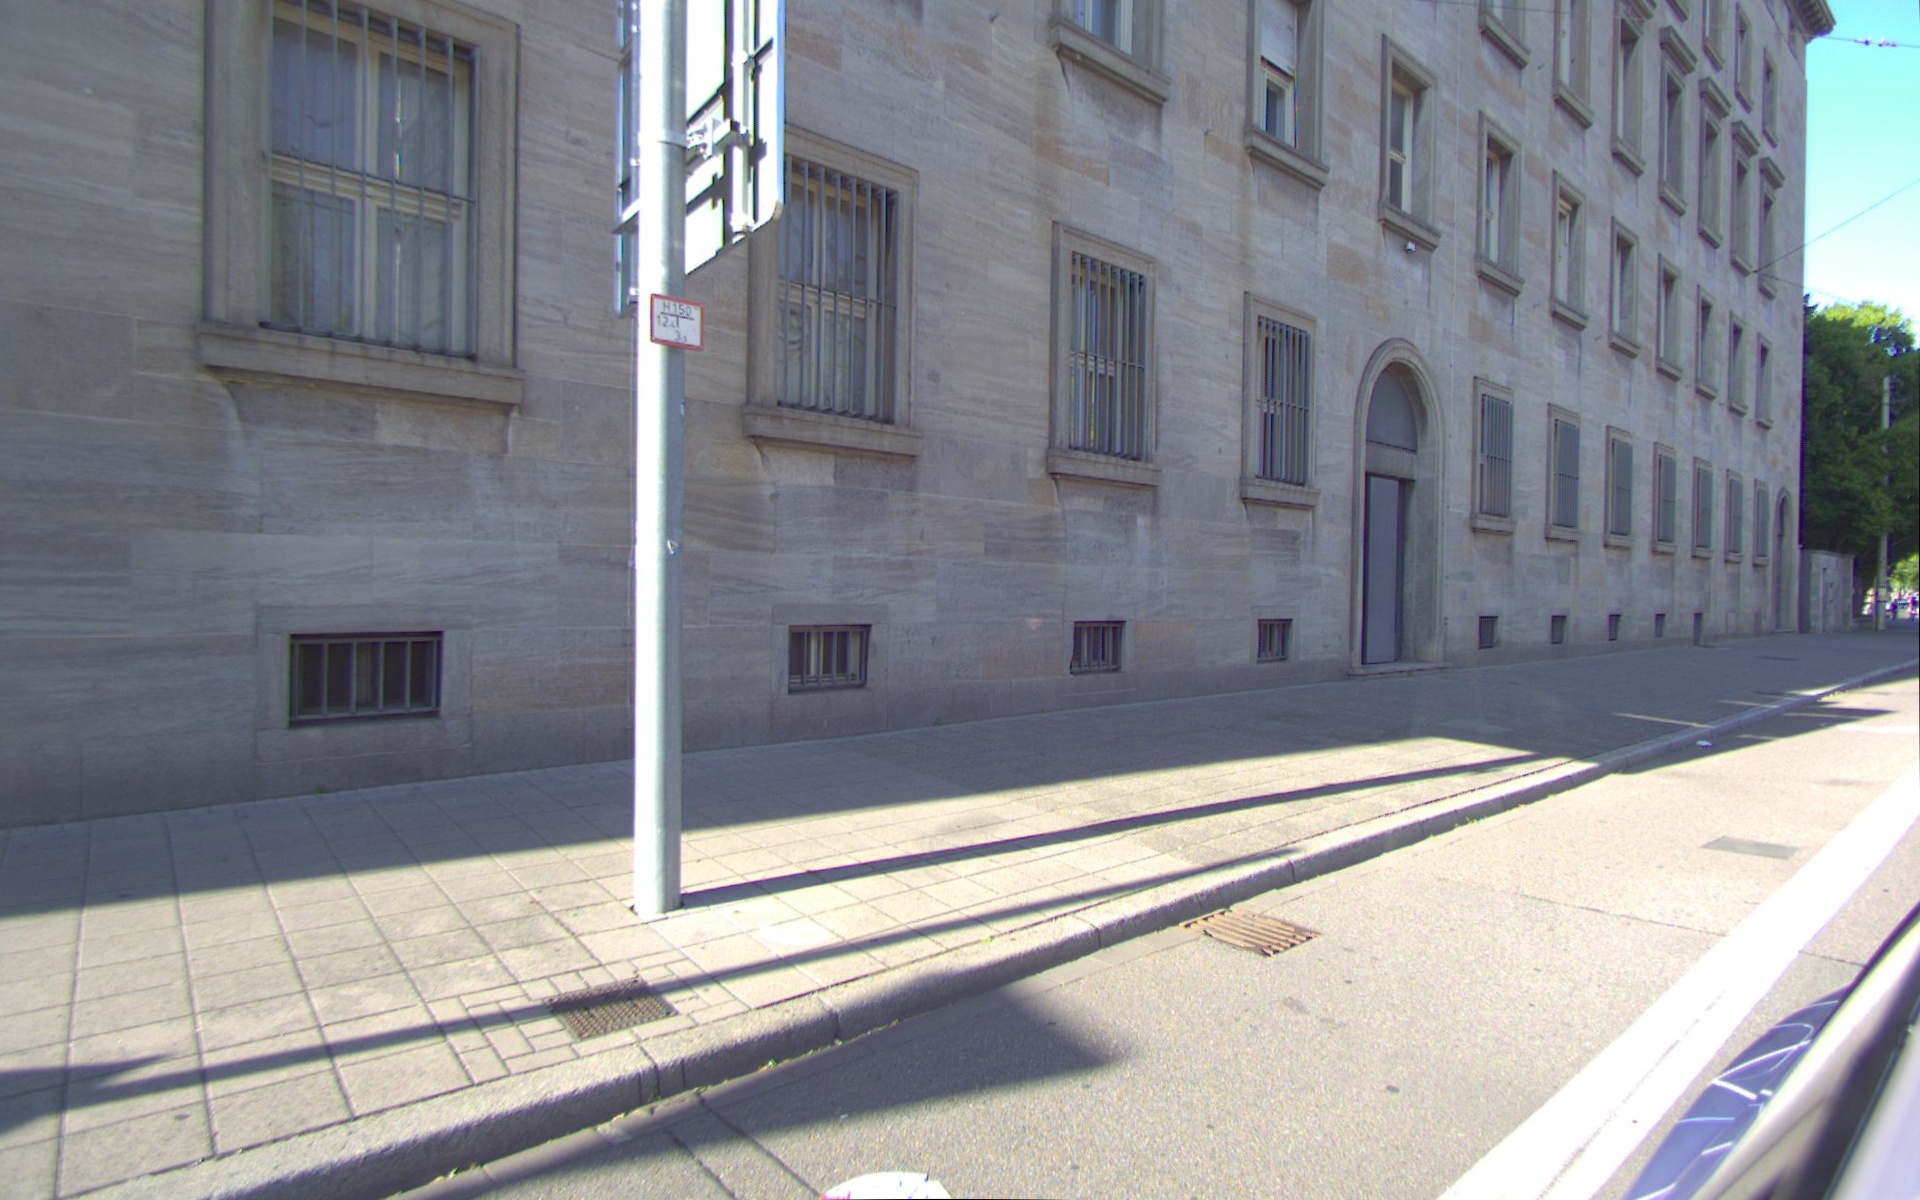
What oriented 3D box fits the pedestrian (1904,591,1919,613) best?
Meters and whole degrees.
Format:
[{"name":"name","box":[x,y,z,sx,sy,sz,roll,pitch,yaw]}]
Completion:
[{"name":"pedestrian","box":[75.659,0.131,80.432,0.828,1.742,0.792,1,1,43]}]
